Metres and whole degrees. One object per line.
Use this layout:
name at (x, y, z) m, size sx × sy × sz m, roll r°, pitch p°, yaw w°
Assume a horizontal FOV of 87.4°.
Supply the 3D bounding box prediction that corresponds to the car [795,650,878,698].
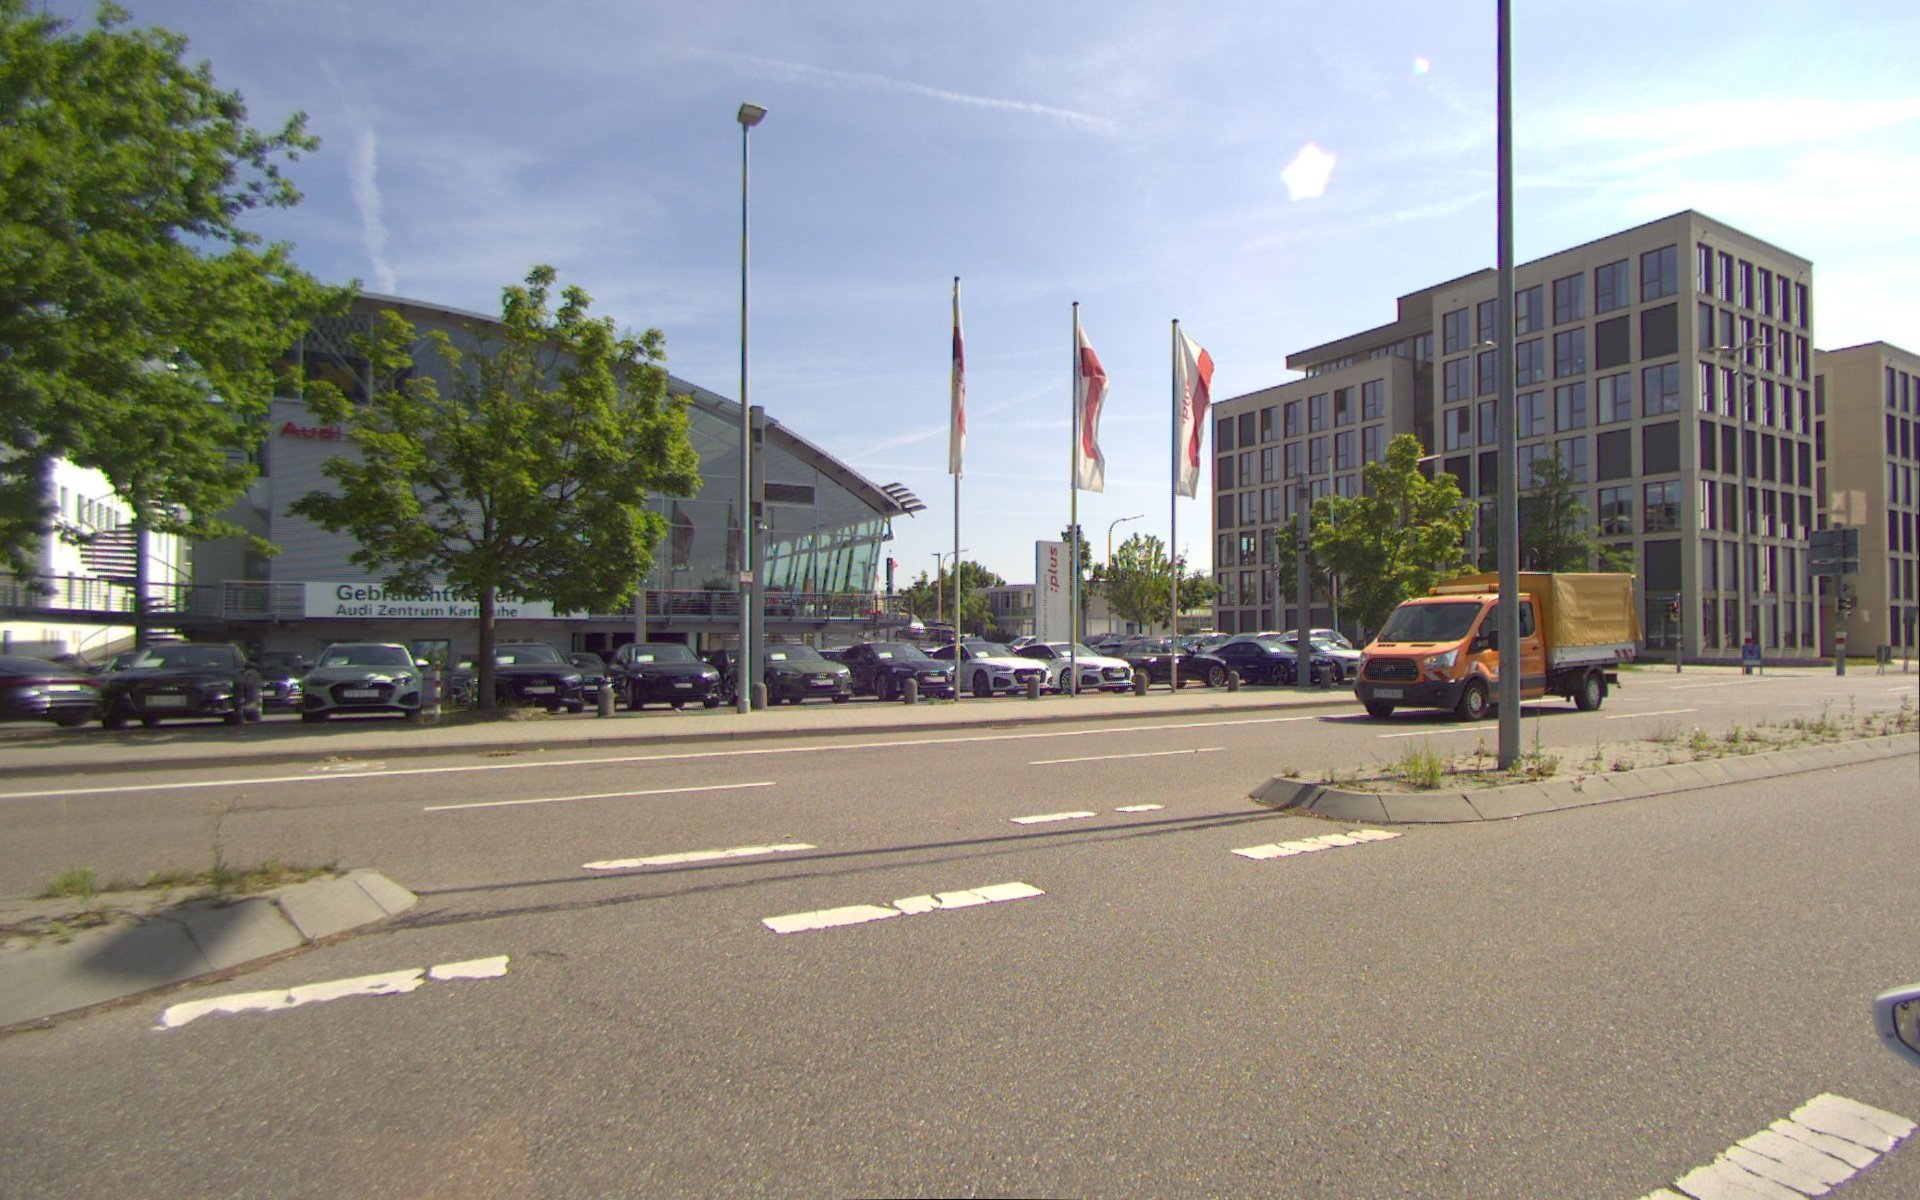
car at (-4.330, 2.515, 34.835) m, size 1.647 × 1.493 × 3.491 m, roll 1°, pitch -2°, yaw -30°

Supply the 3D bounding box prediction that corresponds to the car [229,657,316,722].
car at (-18.270, 2.321, 26.821) m, size 1.671 × 1.492 × 3.798 m, roll 1°, pitch -2°, yaw -31°

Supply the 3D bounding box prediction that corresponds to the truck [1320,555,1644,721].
truck at (9.921, 0.739, 18.857) m, size 6.600 × 2.658 × 2.363 m, roll 1°, pitch -4°, yaw -33°

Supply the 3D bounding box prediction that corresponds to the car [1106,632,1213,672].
car at (8.987, 2.313, 45.165) m, size 4.722 × 1.525 × 1.779 m, roll -2°, pitch -1°, yaw -31°

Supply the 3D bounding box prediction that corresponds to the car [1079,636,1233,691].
car at (5.765, 1.808, 29.434) m, size 4.373 × 1.515 × 1.789 m, roll 1°, pitch -2°, yaw -30°

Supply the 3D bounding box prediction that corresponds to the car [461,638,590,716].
car at (-8.732, 1.530, 20.017) m, size 1.815 × 1.372 × 4.091 m, roll 1°, pitch -5°, yaw -31°

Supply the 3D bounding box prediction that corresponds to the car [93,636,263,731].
car at (-13.261, 1.426, 17.284) m, size 1.788 × 1.420 × 4.006 m, roll 1°, pitch -5°, yaw -31°

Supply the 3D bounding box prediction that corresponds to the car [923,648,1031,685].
car at (0.696, 2.629, 40.262) m, size 4.019 × 1.396 × 1.779 m, roll 1°, pitch -3°, yaw -31°

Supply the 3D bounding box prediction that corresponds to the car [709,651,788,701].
car at (-7.039, 2.454, 33.204) m, size 1.506 × 1.493 × 3.490 m, roll 1°, pitch -2°, yaw -31°

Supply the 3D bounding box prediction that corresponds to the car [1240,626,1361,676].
car at (13.001, 1.913, 38.263) m, size 4.540 × 1.635 × 1.805 m, roll -2°, pitch -1°, yaw -30°

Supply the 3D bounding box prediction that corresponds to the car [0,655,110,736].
car at (-18.011, 1.717, 18.356) m, size 3.762 × 1.350 × 1.691 m, roll -1°, pitch -2°, yaw 8°

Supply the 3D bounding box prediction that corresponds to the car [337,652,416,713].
car at (-16.269, 2.241, 28.044) m, size 1.783 × 1.492 × 3.800 m, roll 1°, pitch -2°, yaw -30°

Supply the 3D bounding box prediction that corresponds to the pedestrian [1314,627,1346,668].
pedestrian at (16.422, 2.108, 44.569) m, size 0.906 × 1.772 × 0.996 m, roll 1°, pitch -2°, yaw -30°

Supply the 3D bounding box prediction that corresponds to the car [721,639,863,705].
car at (-3.928, 1.661, 22.900) m, size 1.833 × 1.352 × 4.157 m, roll 1°, pitch -5°, yaw -30°

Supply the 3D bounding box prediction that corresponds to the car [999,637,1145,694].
car at (2.911, 1.783, 26.954) m, size 1.856 × 1.387 × 4.055 m, roll 1°, pitch -5°, yaw -30°

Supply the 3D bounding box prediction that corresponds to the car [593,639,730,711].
car at (-6.473, 1.608, 21.445) m, size 1.809 × 1.372 × 4.260 m, roll 1°, pitch -5°, yaw -31°

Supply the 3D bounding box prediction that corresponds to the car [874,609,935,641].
car at (-3.713, 1.632, 66.556) m, size 2.066 × 1.932 × 4.508 m, roll 6°, pitch -4°, yaw -32°

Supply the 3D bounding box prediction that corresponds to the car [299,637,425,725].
car at (-11.004, 1.490, 18.571) m, size 1.781 × 1.412 × 4.197 m, roll 1°, pitch -5°, yaw -30°

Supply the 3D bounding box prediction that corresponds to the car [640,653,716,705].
car at (-9.029, 2.471, 32.005) m, size 1.506 × 1.493 × 3.490 m, roll 1°, pitch -2°, yaw -31°

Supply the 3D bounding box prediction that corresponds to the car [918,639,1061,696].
car at (0.668, 1.747, 25.619) m, size 1.846 × 1.336 × 3.970 m, roll 1°, pitch -5°, yaw -30°

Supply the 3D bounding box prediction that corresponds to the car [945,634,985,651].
car at (0.594, 4.874, 115.374) m, size 4.190 × 1.965 × 1.885 m, roll 2°, pitch -2°, yaw -30°

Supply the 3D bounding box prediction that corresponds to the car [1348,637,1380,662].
car at (27.134, 3.302, 67.536) m, size 1.772 × 1.533 × 4.000 m, roll -1°, pitch -2°, yaw 19°

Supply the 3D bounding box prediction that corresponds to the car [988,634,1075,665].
car at (3.908, 2.682, 54.746) m, size 4.507 × 1.461 × 1.779 m, roll -1°, pitch -1°, yaw -31°

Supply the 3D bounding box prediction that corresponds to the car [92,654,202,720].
car at (-20.573, 2.152, 25.561) m, size 1.671 × 1.456 × 3.797 m, roll 1°, pitch -2°, yaw -32°

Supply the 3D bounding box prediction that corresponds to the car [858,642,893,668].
car at (-4.949, 3.225, 59.305) m, size 1.762 × 1.461 × 4.028 m, roll 0°, pitch -2°, yaw -1°

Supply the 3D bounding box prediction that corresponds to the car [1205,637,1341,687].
car at (9.583, 1.872, 31.003) m, size 1.744 × 1.421 × 3.815 m, roll 1°, pitch -3°, yaw -31°

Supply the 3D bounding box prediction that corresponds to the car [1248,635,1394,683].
car at (11.571, 1.861, 32.501) m, size 1.876 × 1.451 × 4.356 m, roll 1°, pitch -2°, yaw -28°

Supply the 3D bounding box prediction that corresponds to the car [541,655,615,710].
car at (-11.637, 2.449, 30.491) m, size 1.571 × 1.493 × 3.491 m, roll 1°, pitch -2°, yaw -30°

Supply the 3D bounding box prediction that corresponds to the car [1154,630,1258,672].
car at (10.582, 2.174, 43.178) m, size 4.325 × 1.564 × 1.779 m, roll -2°, pitch -1°, yaw -31°

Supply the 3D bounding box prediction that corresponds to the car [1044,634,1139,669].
car at (6.581, 2.537, 50.033) m, size 4.579 × 1.461 × 1.779 m, roll -2°, pitch -1°, yaw -31°

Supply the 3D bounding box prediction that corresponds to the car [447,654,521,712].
car at (-13.962, 2.363, 29.371) m, size 1.670 × 1.492 × 3.643 m, roll 1°, pitch -2°, yaw -30°

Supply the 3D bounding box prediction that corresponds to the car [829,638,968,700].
car at (-1.577, 1.673, 24.125) m, size 1.815 × 1.336 × 3.972 m, roll 1°, pitch -5°, yaw -29°
